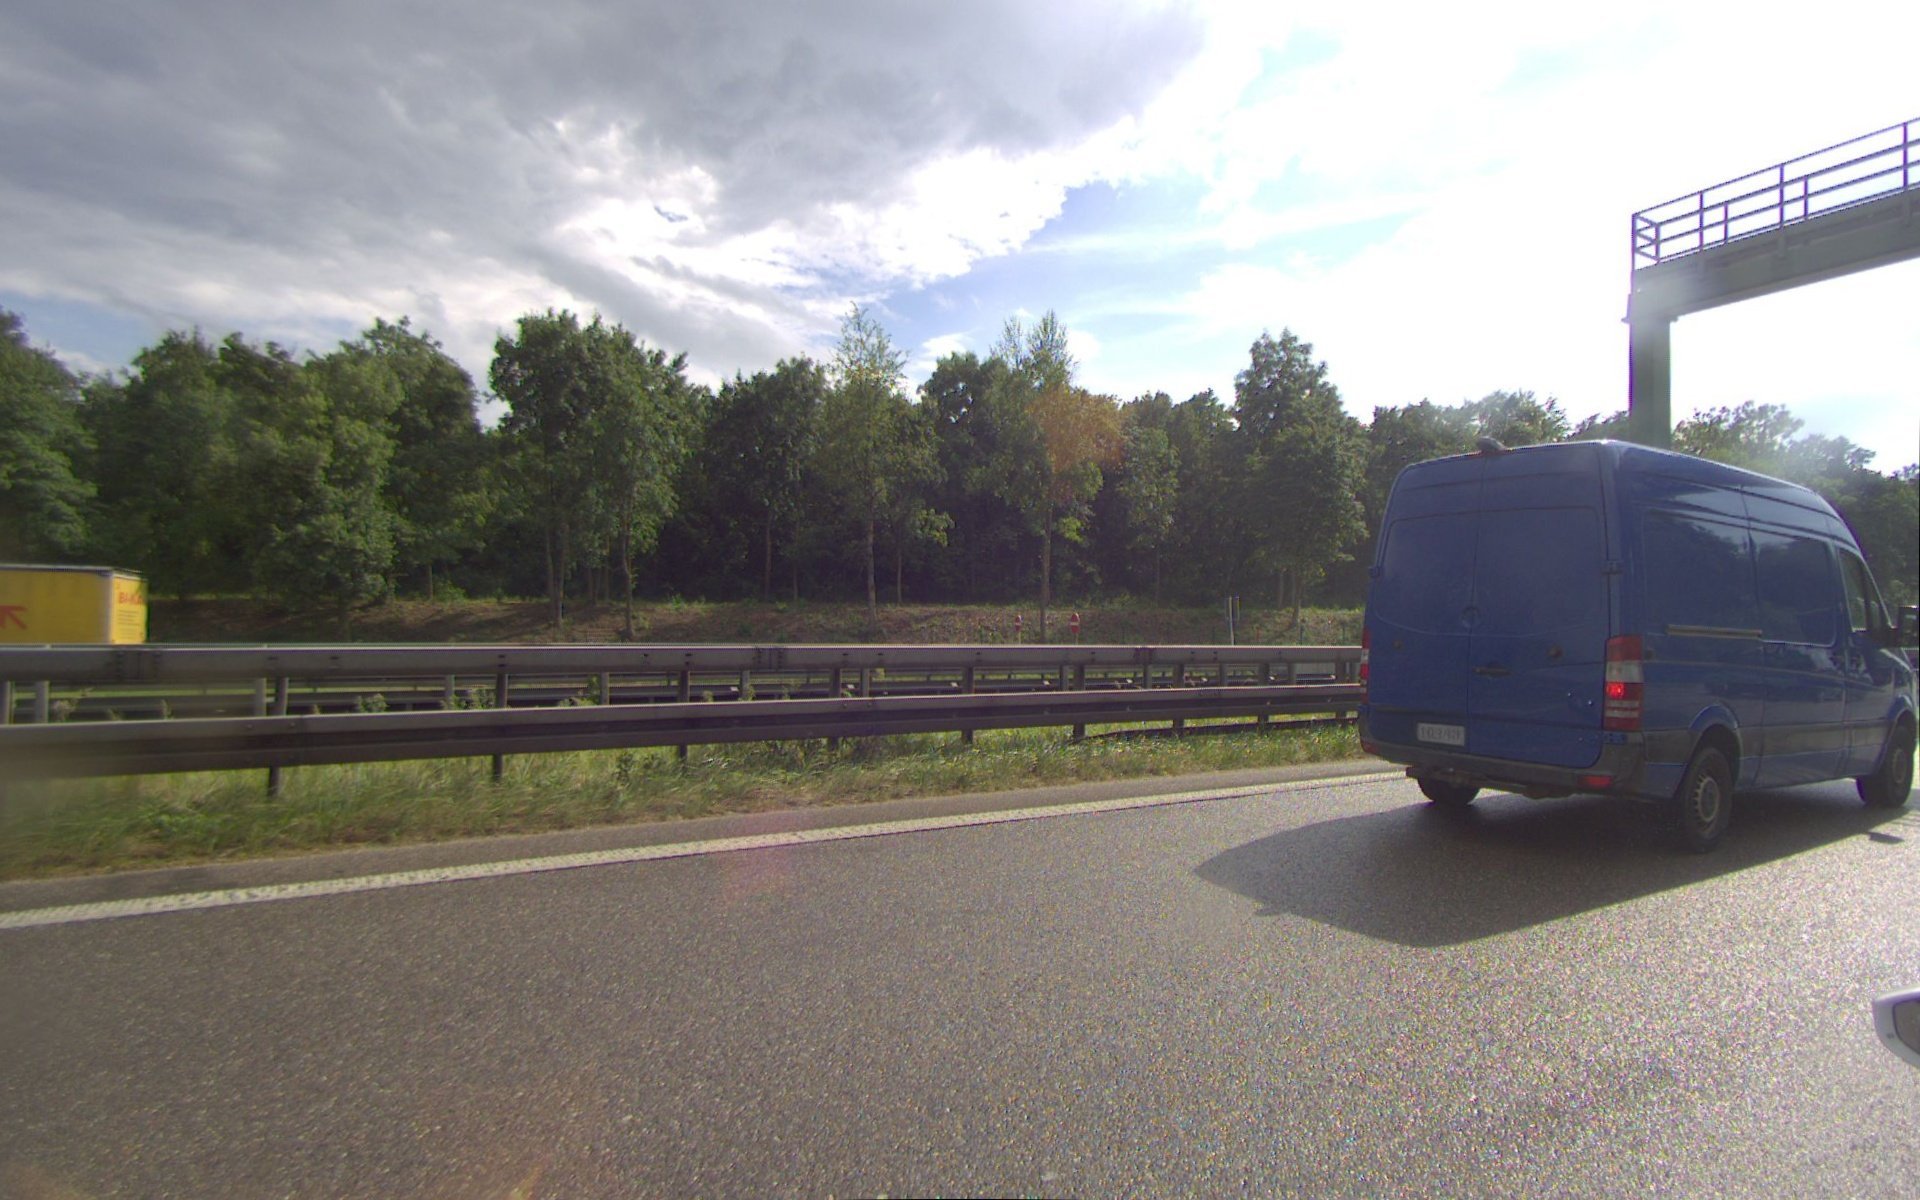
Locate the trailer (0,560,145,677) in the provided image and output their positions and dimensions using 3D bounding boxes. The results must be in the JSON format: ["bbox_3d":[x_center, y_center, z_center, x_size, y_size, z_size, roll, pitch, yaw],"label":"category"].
[{"bbox_3d":[-34.752,0.465,32.203,13.444,3.744,1.992,2,0,-19],"label":"trailer"}]

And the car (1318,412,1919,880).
[{"bbox_3d":[5.637,0.324,8.104,5.710,2.684,2.005,1,0,-31],"label":"car"}]
